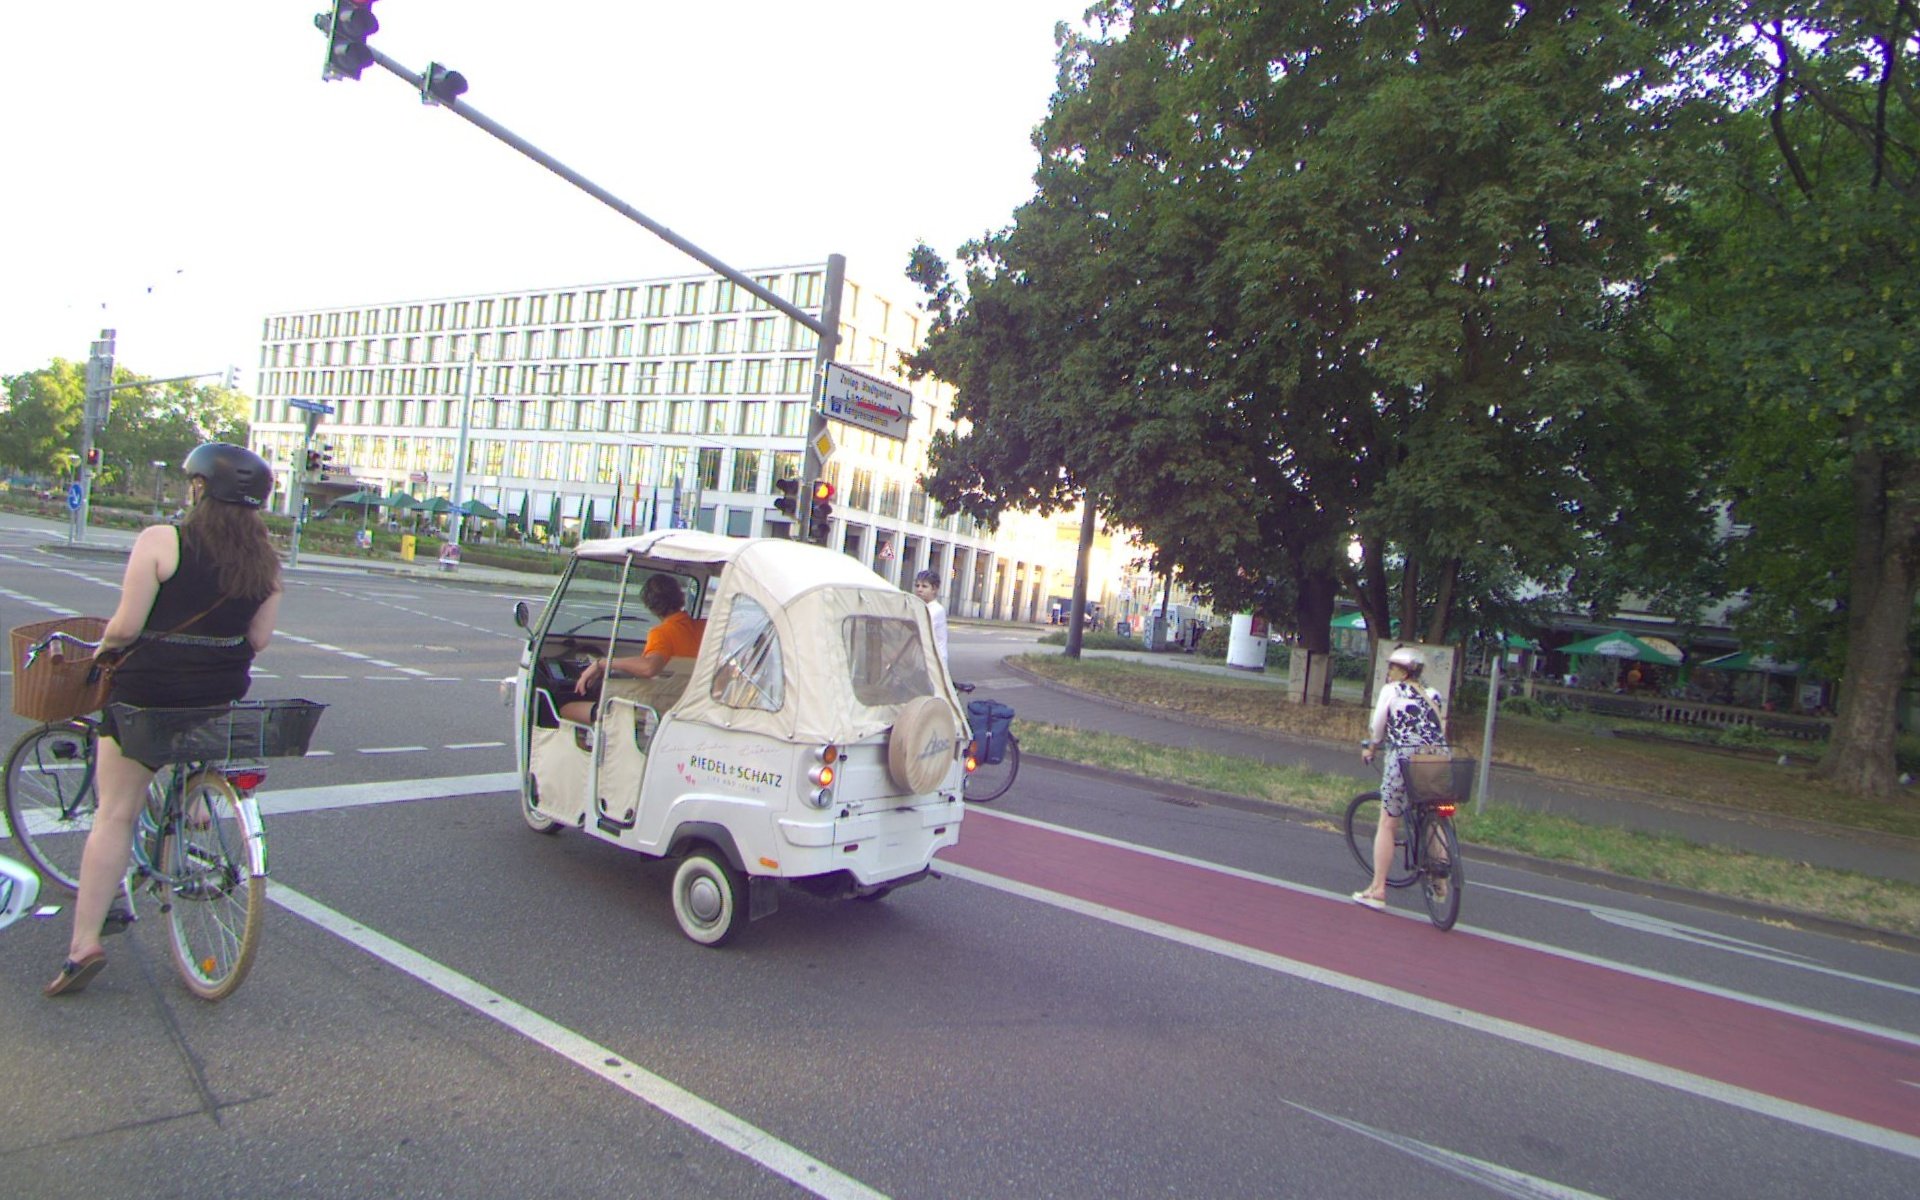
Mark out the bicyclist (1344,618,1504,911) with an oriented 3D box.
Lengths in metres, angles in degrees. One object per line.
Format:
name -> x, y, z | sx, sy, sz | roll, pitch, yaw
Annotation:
bicyclist -> 2.997, 1.018, 6.580 | 0.702, 1.714, 0.748 | 7, 1, 20

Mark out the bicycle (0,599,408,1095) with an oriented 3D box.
bicycle -> -2.788, 0.648, 3.375 | 2.035, 1.082, 0.638 | 7, 0, 32

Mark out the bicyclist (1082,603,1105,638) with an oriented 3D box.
bicyclist -> 6.925, 1.087, 52.194 | 0.704, 1.714, 0.746 | 7, 1, 35

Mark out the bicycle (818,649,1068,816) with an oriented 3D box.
bicycle -> -0.162, 1.083, 8.360 | 1.871, 1.081, 0.730 | 8, -1, -10

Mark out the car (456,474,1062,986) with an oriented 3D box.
car -> -1.049, 0.456, 5.058 | 2.523, 1.803, 1.460 | 8, 1, 34

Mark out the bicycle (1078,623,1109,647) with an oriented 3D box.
bicycle -> 6.945, 1.817, 52.307 | 0.719, 1.082, 1.898 | 7, -1, 34

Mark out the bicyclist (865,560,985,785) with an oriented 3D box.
bicyclist -> -0.309, 0.576, 8.315 | 0.736, 1.714, 0.763 | 6, 1, -9

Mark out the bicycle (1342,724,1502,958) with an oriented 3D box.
bicycle -> 2.968, 1.467, 6.640 | 0.717, 1.082, 2.022 | 7, -1, 21

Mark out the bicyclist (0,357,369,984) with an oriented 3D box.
bicyclist -> -2.474, 0.181, 3.193 | 0.736, 1.714, 0.629 | 7, 1, 31
